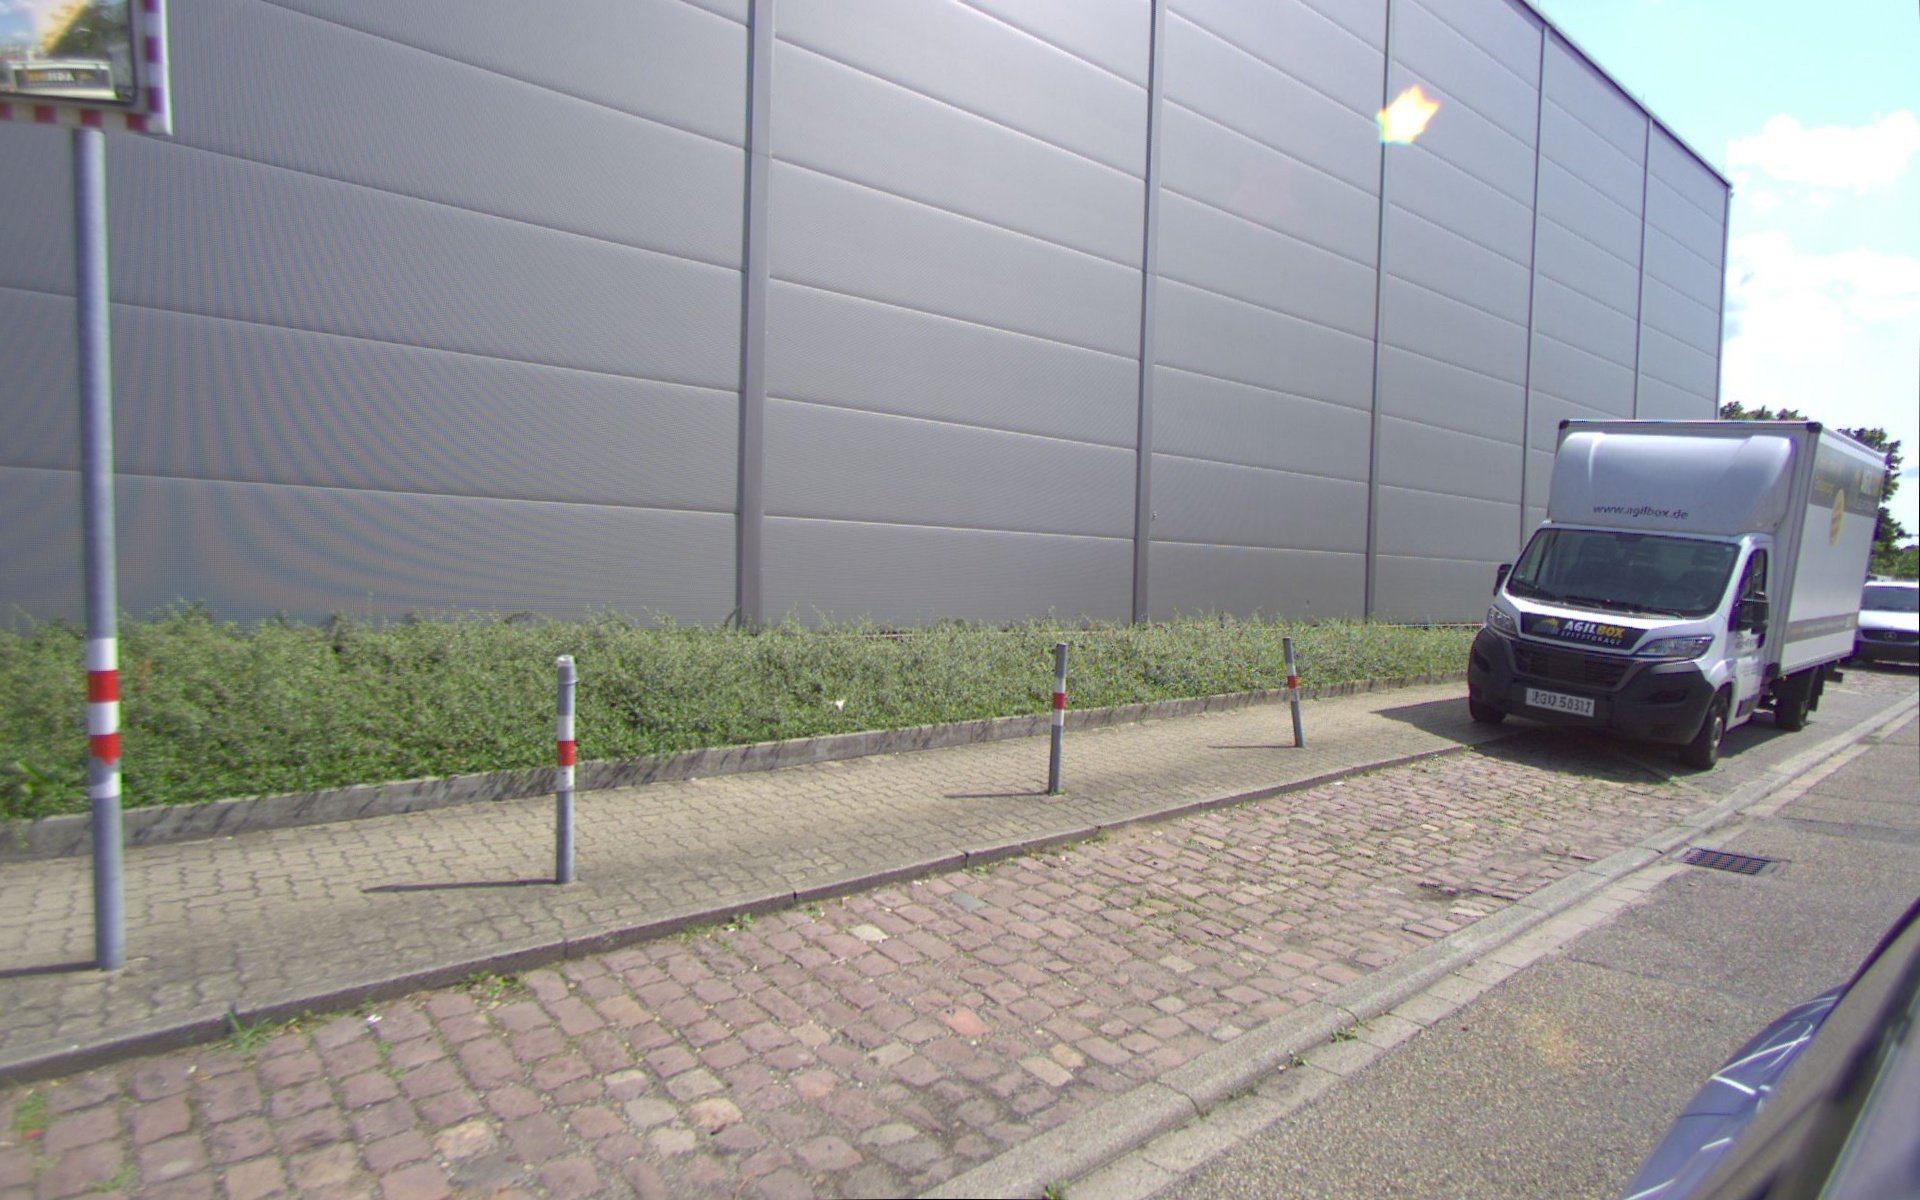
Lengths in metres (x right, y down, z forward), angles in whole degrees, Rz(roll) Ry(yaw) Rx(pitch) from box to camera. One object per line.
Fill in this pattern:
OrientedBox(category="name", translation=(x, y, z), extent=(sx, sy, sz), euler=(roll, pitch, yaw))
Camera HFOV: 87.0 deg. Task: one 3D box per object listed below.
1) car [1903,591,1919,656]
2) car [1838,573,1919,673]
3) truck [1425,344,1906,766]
OrientedBox(category="car", translation=(26.180, 0.623, 26.576), extent=(4.022, 1.644, 1.707), euler=(0, 2, -42))
OrientedBox(category="car", translation=(21.102, 0.468, 22.134), extent=(5.057, 1.926, 2.059), euler=(0, 5, -41))
OrientedBox(category="truck", translation=(8.012, -0.487, 11.106), extent=(6.697, 3.331, 2.465), euler=(0, 6, -41))
